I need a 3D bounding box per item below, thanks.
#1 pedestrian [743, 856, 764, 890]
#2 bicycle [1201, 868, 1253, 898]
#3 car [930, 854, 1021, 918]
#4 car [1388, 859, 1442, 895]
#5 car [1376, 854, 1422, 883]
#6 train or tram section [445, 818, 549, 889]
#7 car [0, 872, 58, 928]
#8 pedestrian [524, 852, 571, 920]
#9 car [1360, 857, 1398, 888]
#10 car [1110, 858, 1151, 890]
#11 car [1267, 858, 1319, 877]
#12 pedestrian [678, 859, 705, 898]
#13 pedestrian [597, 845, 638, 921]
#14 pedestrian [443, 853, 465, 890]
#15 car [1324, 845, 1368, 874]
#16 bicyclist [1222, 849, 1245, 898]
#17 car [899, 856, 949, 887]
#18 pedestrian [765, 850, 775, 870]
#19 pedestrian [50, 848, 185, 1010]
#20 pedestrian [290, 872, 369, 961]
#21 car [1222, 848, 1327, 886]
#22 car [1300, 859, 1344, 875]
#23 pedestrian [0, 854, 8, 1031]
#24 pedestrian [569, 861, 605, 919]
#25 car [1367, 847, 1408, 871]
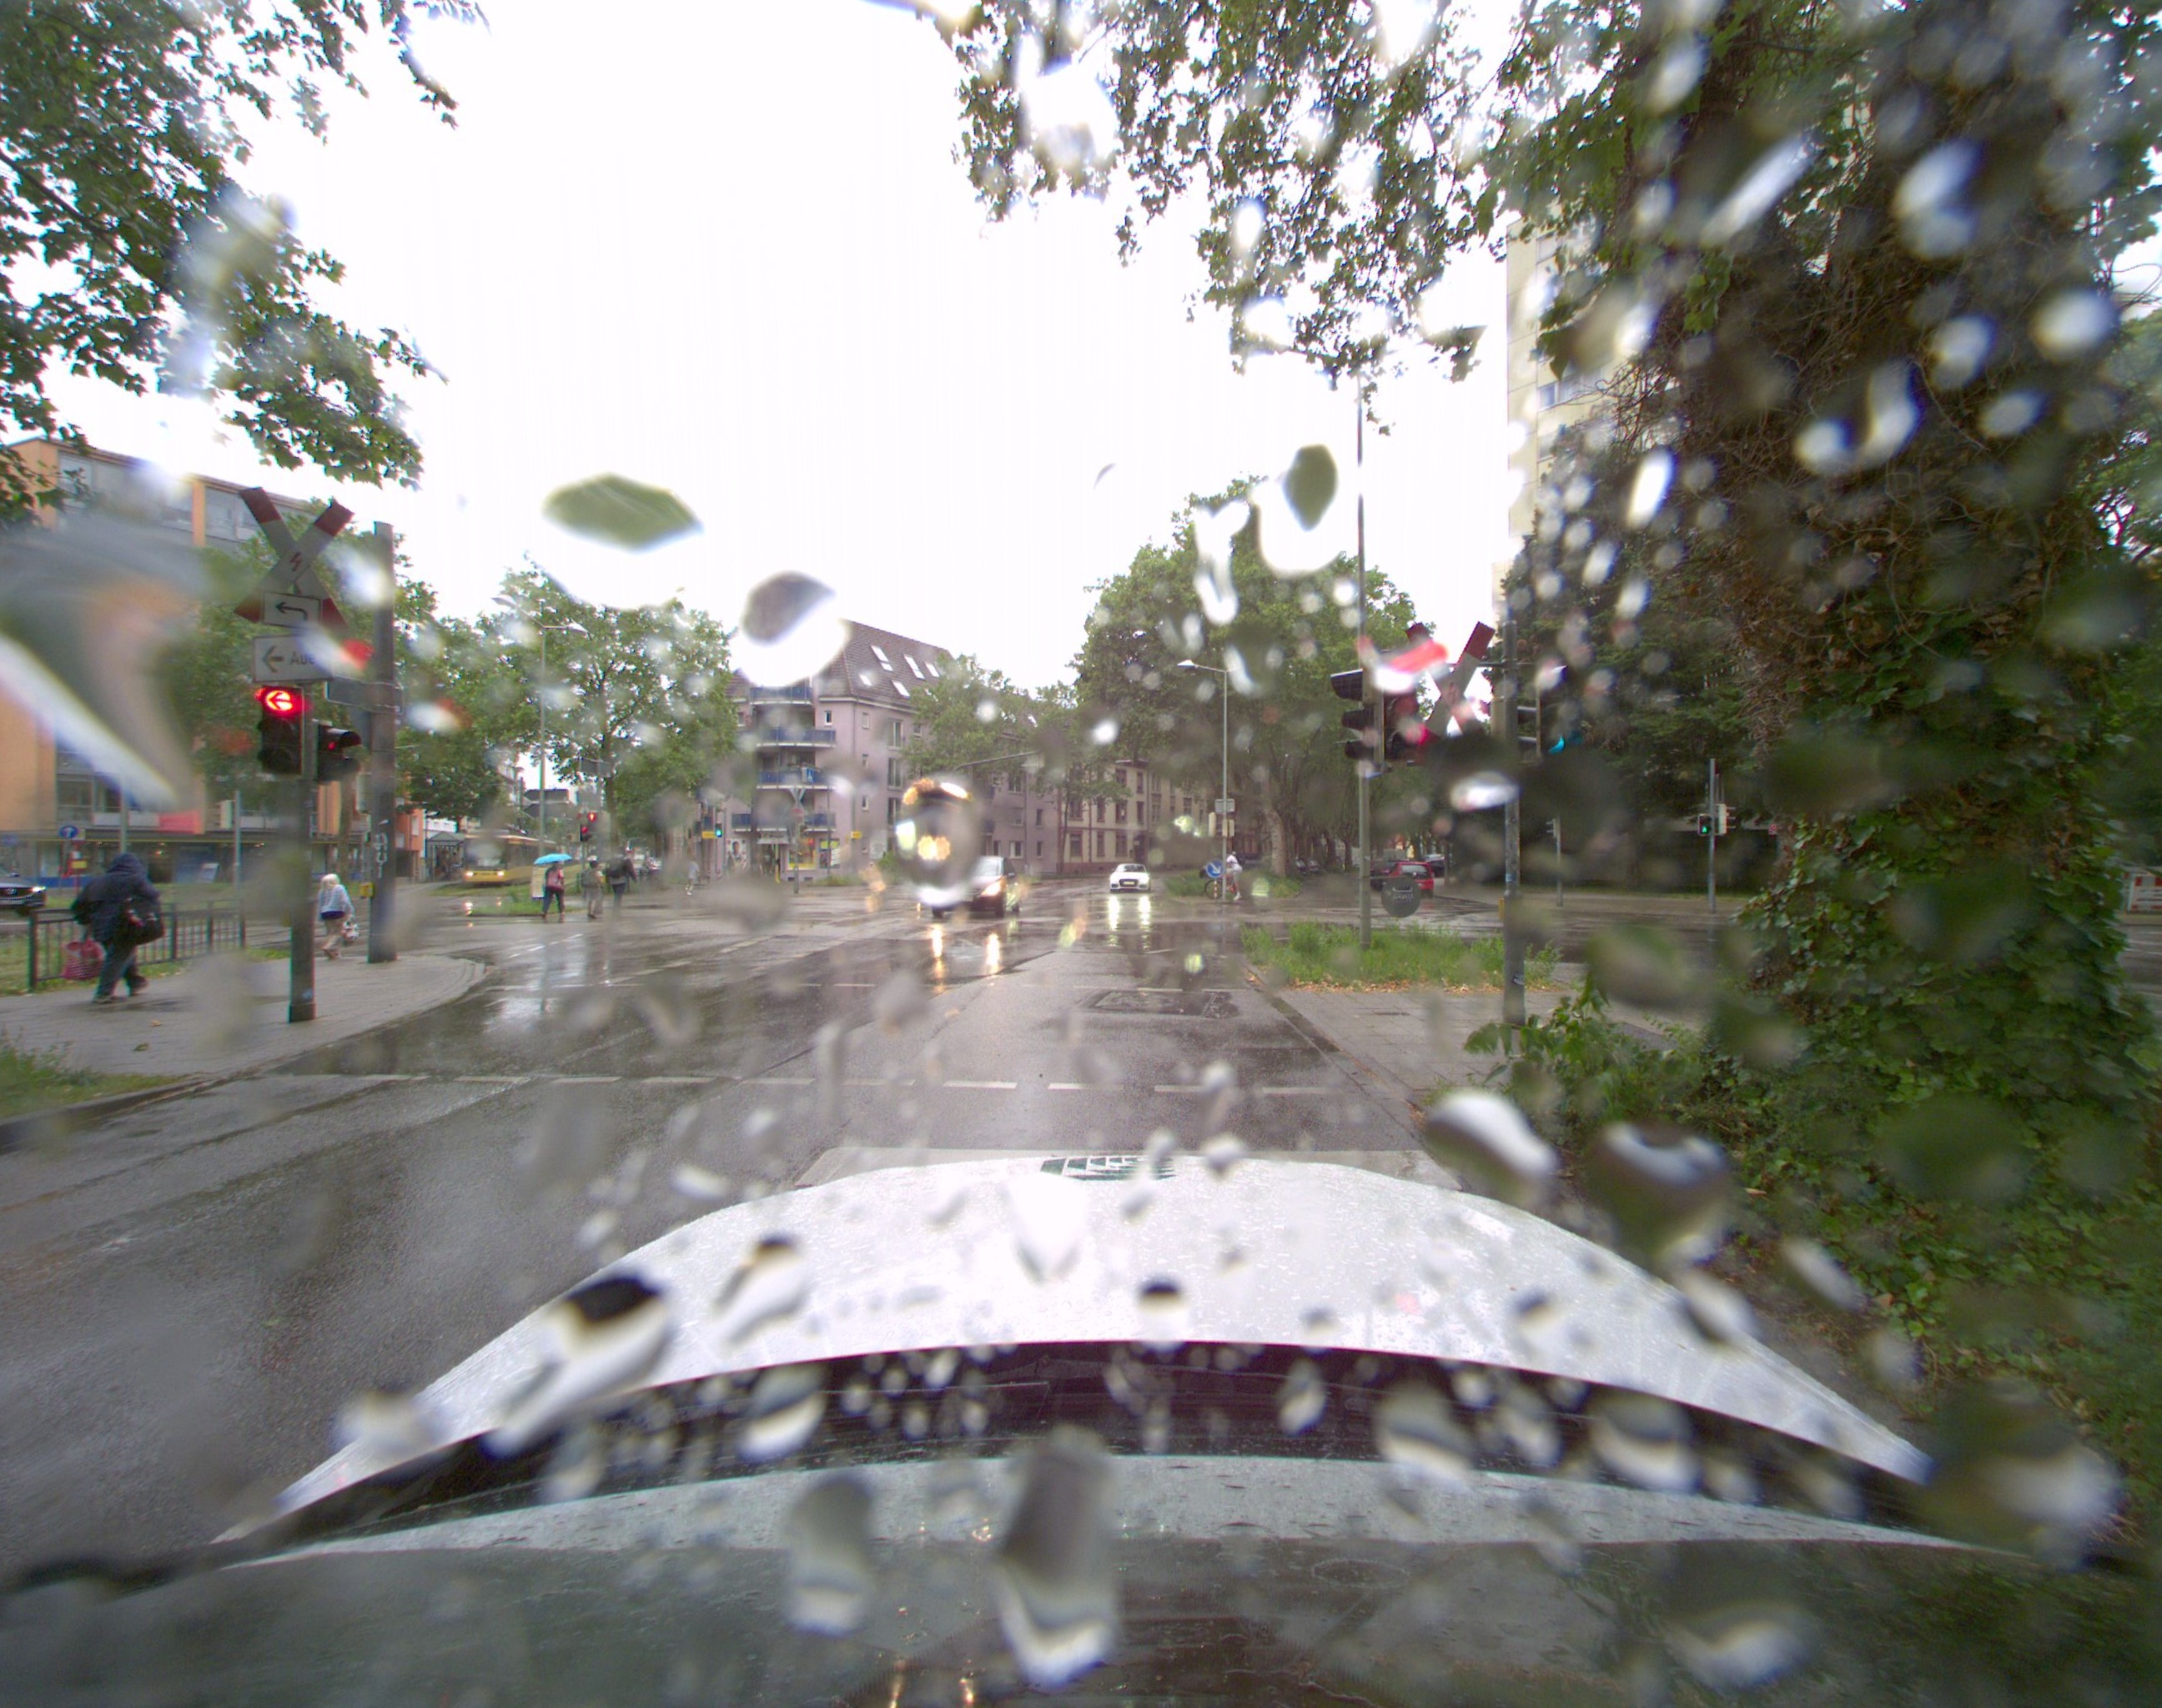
[{"bbox_3d":[-14.895,0.849,37.070,0.749,1.533,0.789,0,-1,-9],"label":"pedestrian"},{"bbox_3d":[5.447,1.069,30.388,1.862,1.081,0.658,-1,-1,9],"label":"bicycle"},{"bbox_3d":[-2.552,0.751,20.469,1.708,1.459,3.748,0,-1,1],"label":"car"},{"bbox_3d":[14.819,0.981,36.323,1.778,1.498,4.017,0,0,16],"label":"car"},{"bbox_3d":[15.888,0.697,40.859,1.770,1.348,3.945,0,1,16],"label":"car"},{"bbox_3d":[-36.340,0.061,51.404,2.897,3.768,17.089,0,-1,-28],"label":"train or tram section"},{"bbox_3d":[-32.227,1.320,23.573,3.994,1.530,1.615,0,1,12],"label":"car"},{"bbox_3d":[-14.334,0.834,21.909,0.962,1.766,0.944,0,-1,-28],"label":"pedestrian"},{"bbox_3d":[17.318,1.064,47.415,1.769,1.727,4.017,-1,-1,16],"label":"car"},{"bbox_3d":[2.396,0.936,39.254,1.876,1.436,4.004,0,0,4],"label":"car"},{"bbox_3d":[16.925,1.071,65.185,3.958,1.486,2.008,-1,-1,14],"label":"car"},{"bbox_3d":[-16.455,1.036,34.434,0.671,1.600,0.967,0,-1,-2],"label":"pedestrian"},{"bbox_3d":[-11.527,0.697,20.278,0.791,1.855,0.676,0,0,-22],"label":"pedestrian"},{"bbox_3d":[-37.662,1.038,48.938,0.889,2.151,0.902,0,-1,-30],"label":"pedestrian"},{"bbox_3d":[28.314,0.589,87.206,2.040,2.948,4.742,0,-1,-18],"label":"car"},{"bbox_3d":[5.684,0.715,30.355,0.790,1.786,0.699,-1,-1,9],"label":"bicyclist"},{"bbox_3d":[-8.014,0.855,41.829,1.745,1.512,3.839,0,0,1],"label":"car"},{"bbox_3d":[-20.967,0.394,54.912,0.560,1.329,0.443,0,-1,-13],"label":"pedestrian"},{"bbox_3d":[-10.842,0.799,9.205,0.844,1.698,0.680,-3,2,-42],"label":"pedestrian"},{"bbox_3d":[-11.997,0.974,13.022,0.657,1.349,0.706,0,0,-12],"label":"pedestrian"},{"bbox_3d":[7.746,0.519,32.652,3.958,1.486,2.008,-1,-1,14],"label":"car"},{"bbox_3d":[23.129,1.255,78.250,3.958,1.547,2.008,-1,-1,14],"label":"car"},{"bbox_3d":[-10.267,0.826,7.076,0.728,1.624,0.816,-1,1,-5],"label":"pedestrian"},{"bbox_3d":[-12.420,0.889,20.489,0.651,1.396,0.776,0,0,-24],"label":"pedestrian"},{"bbox_3d":[38.979,0.642,103.558,2.006,2.948,4.726,0,-1,-29],"label":"car"}]
